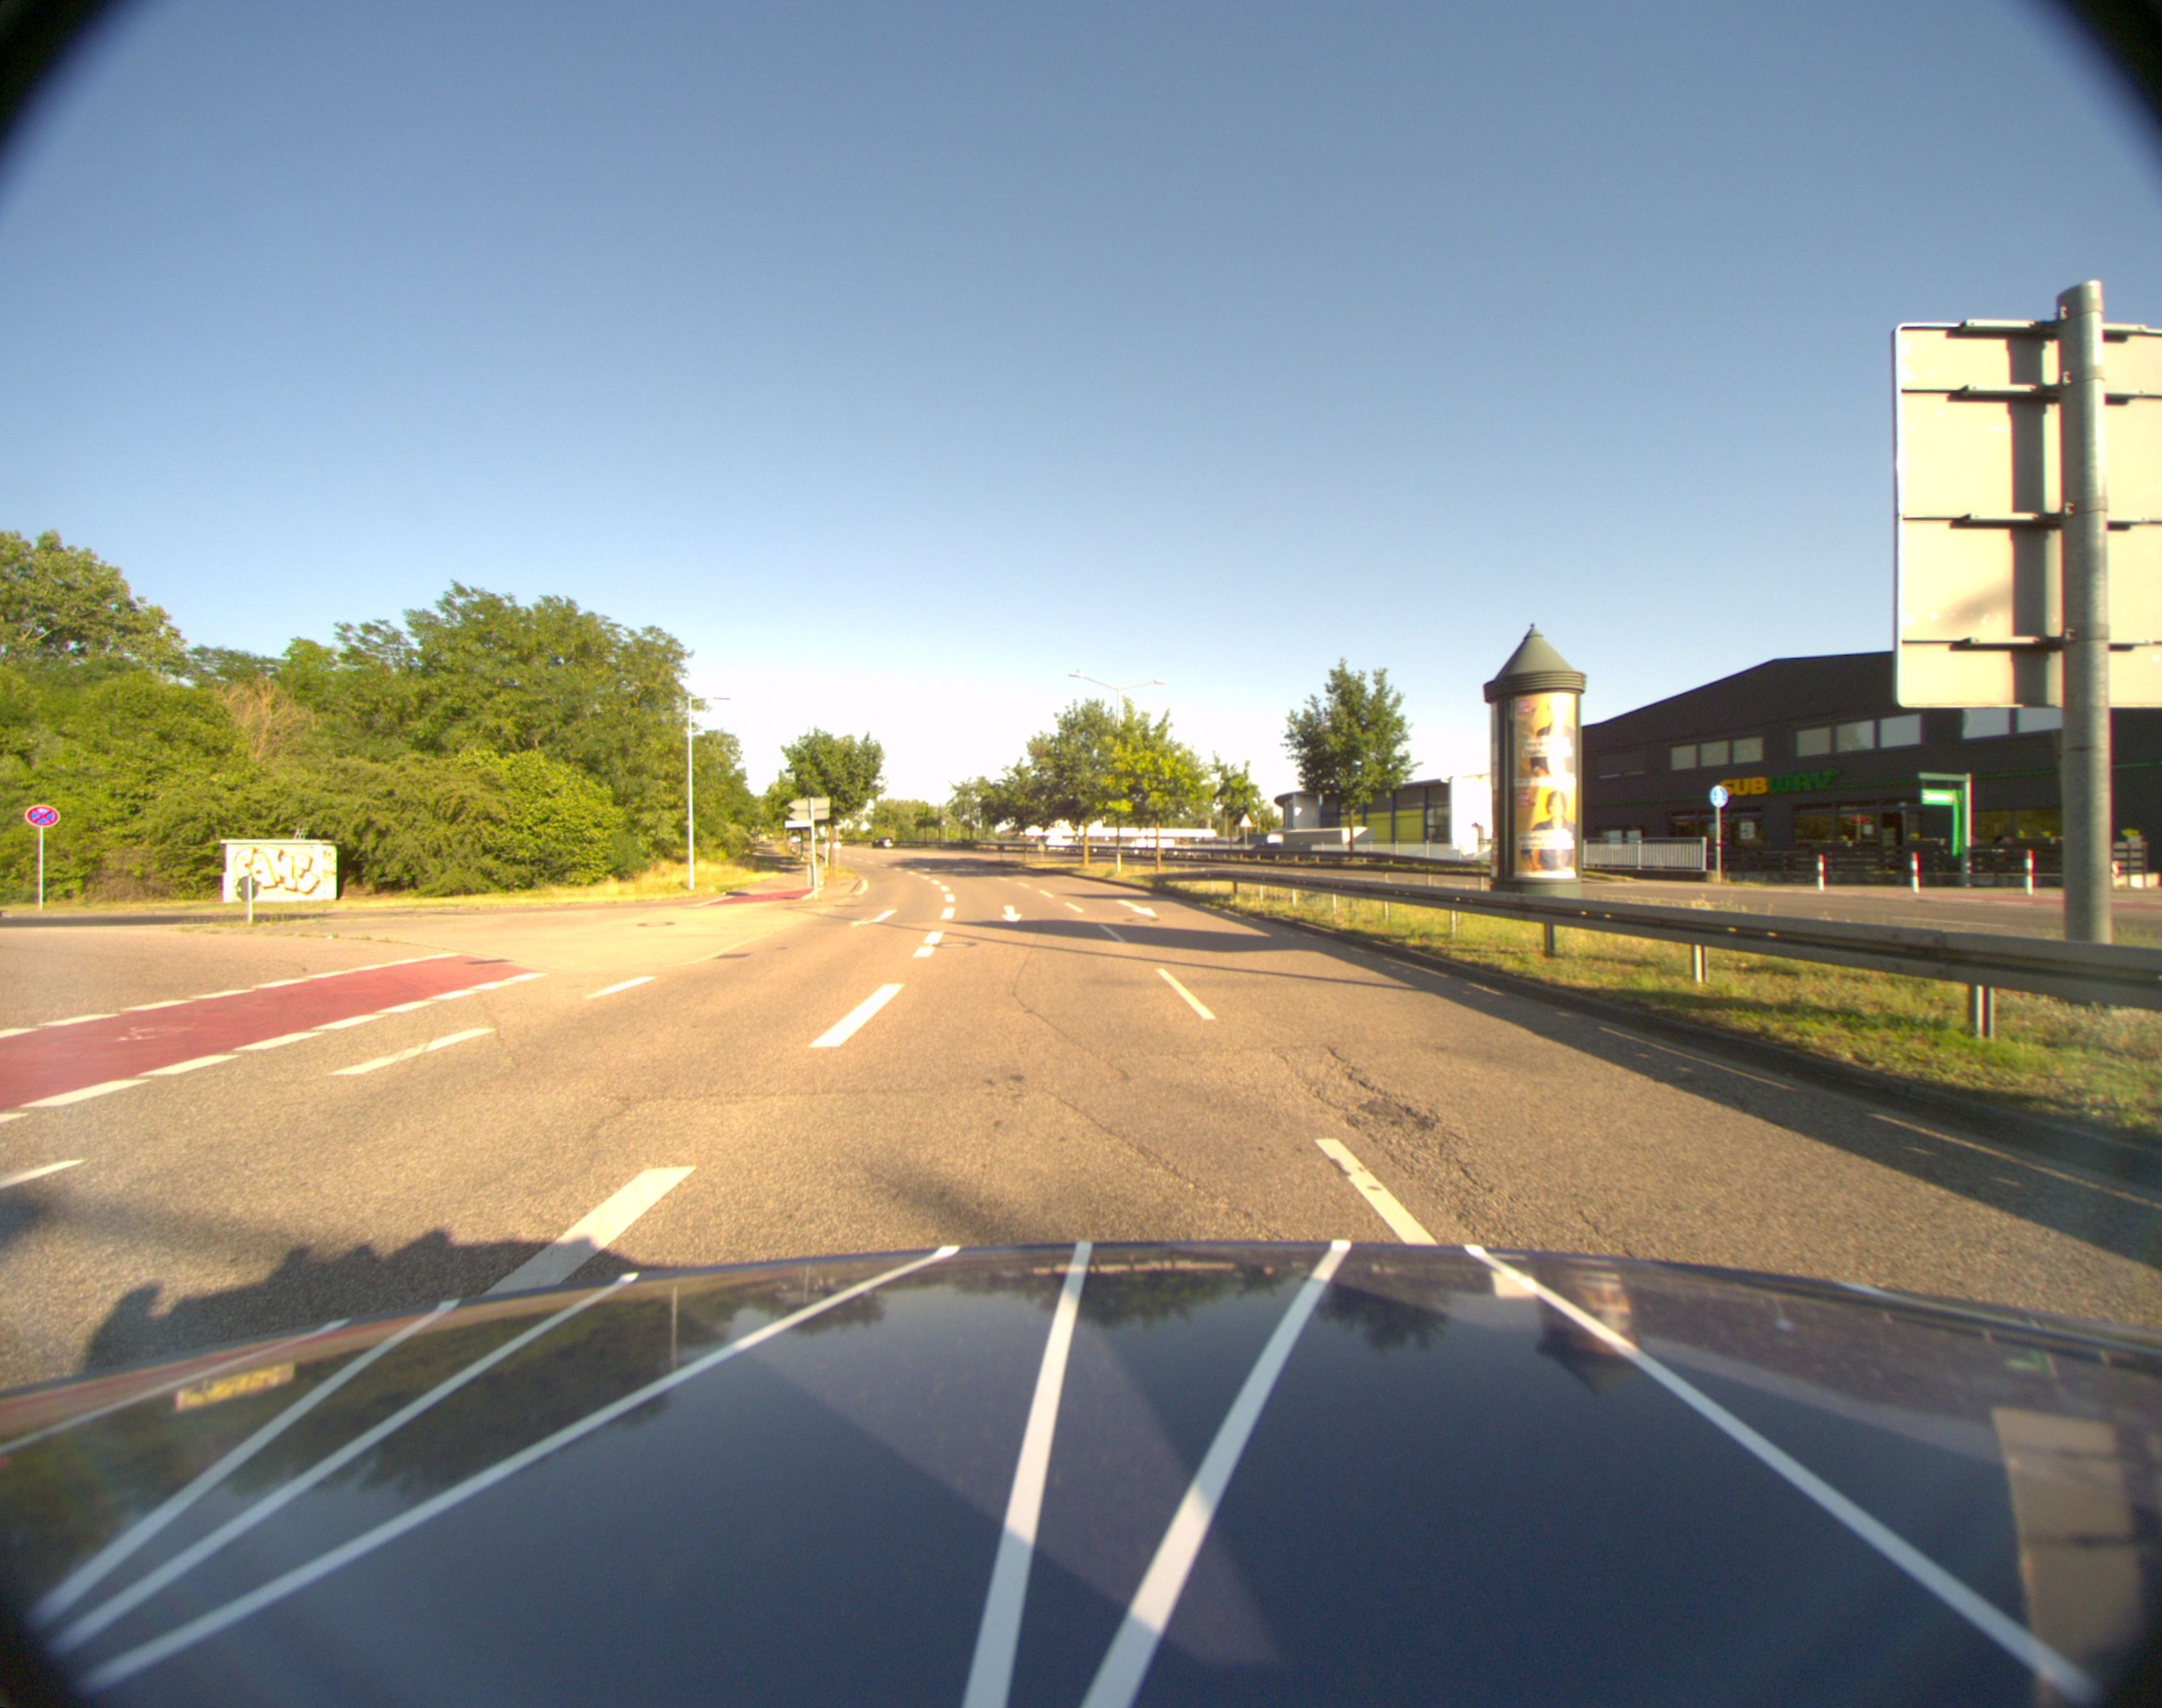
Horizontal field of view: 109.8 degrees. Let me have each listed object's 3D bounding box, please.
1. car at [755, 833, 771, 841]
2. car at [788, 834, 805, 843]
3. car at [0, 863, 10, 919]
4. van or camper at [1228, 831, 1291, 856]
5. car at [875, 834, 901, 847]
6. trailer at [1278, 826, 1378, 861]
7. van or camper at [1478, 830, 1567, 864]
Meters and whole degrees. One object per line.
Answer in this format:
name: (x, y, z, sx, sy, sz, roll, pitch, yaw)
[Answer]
car: (-62.227, -3.325, 148.798, 1.749, 1.454, 3.755, -4, 3, -42)
car: (-50.448, -2.785, 134.734, 1.681, 1.454, 4.093, -2, 3, -38)
car: (-29.804, 0.981, 18.409, 4.361, 1.433, 1.781, -1, -1, -13)
van or camper: (12.649, -0.775, 54.174, 2.002, 1.676, 4.950, -2, 2, -20)
car: (-25.842, -1.812, 101.511, 1.855, 1.595, 4.382, -2, 2, -35)
trailer: (15.238, -0.697, 47.392, 2.429, 1.959, 6.593, -1, 2, -19)
van or camper: (26.137, -0.436, 45.145, 4.220, 1.915, 2.002, 1, 3, 17)
